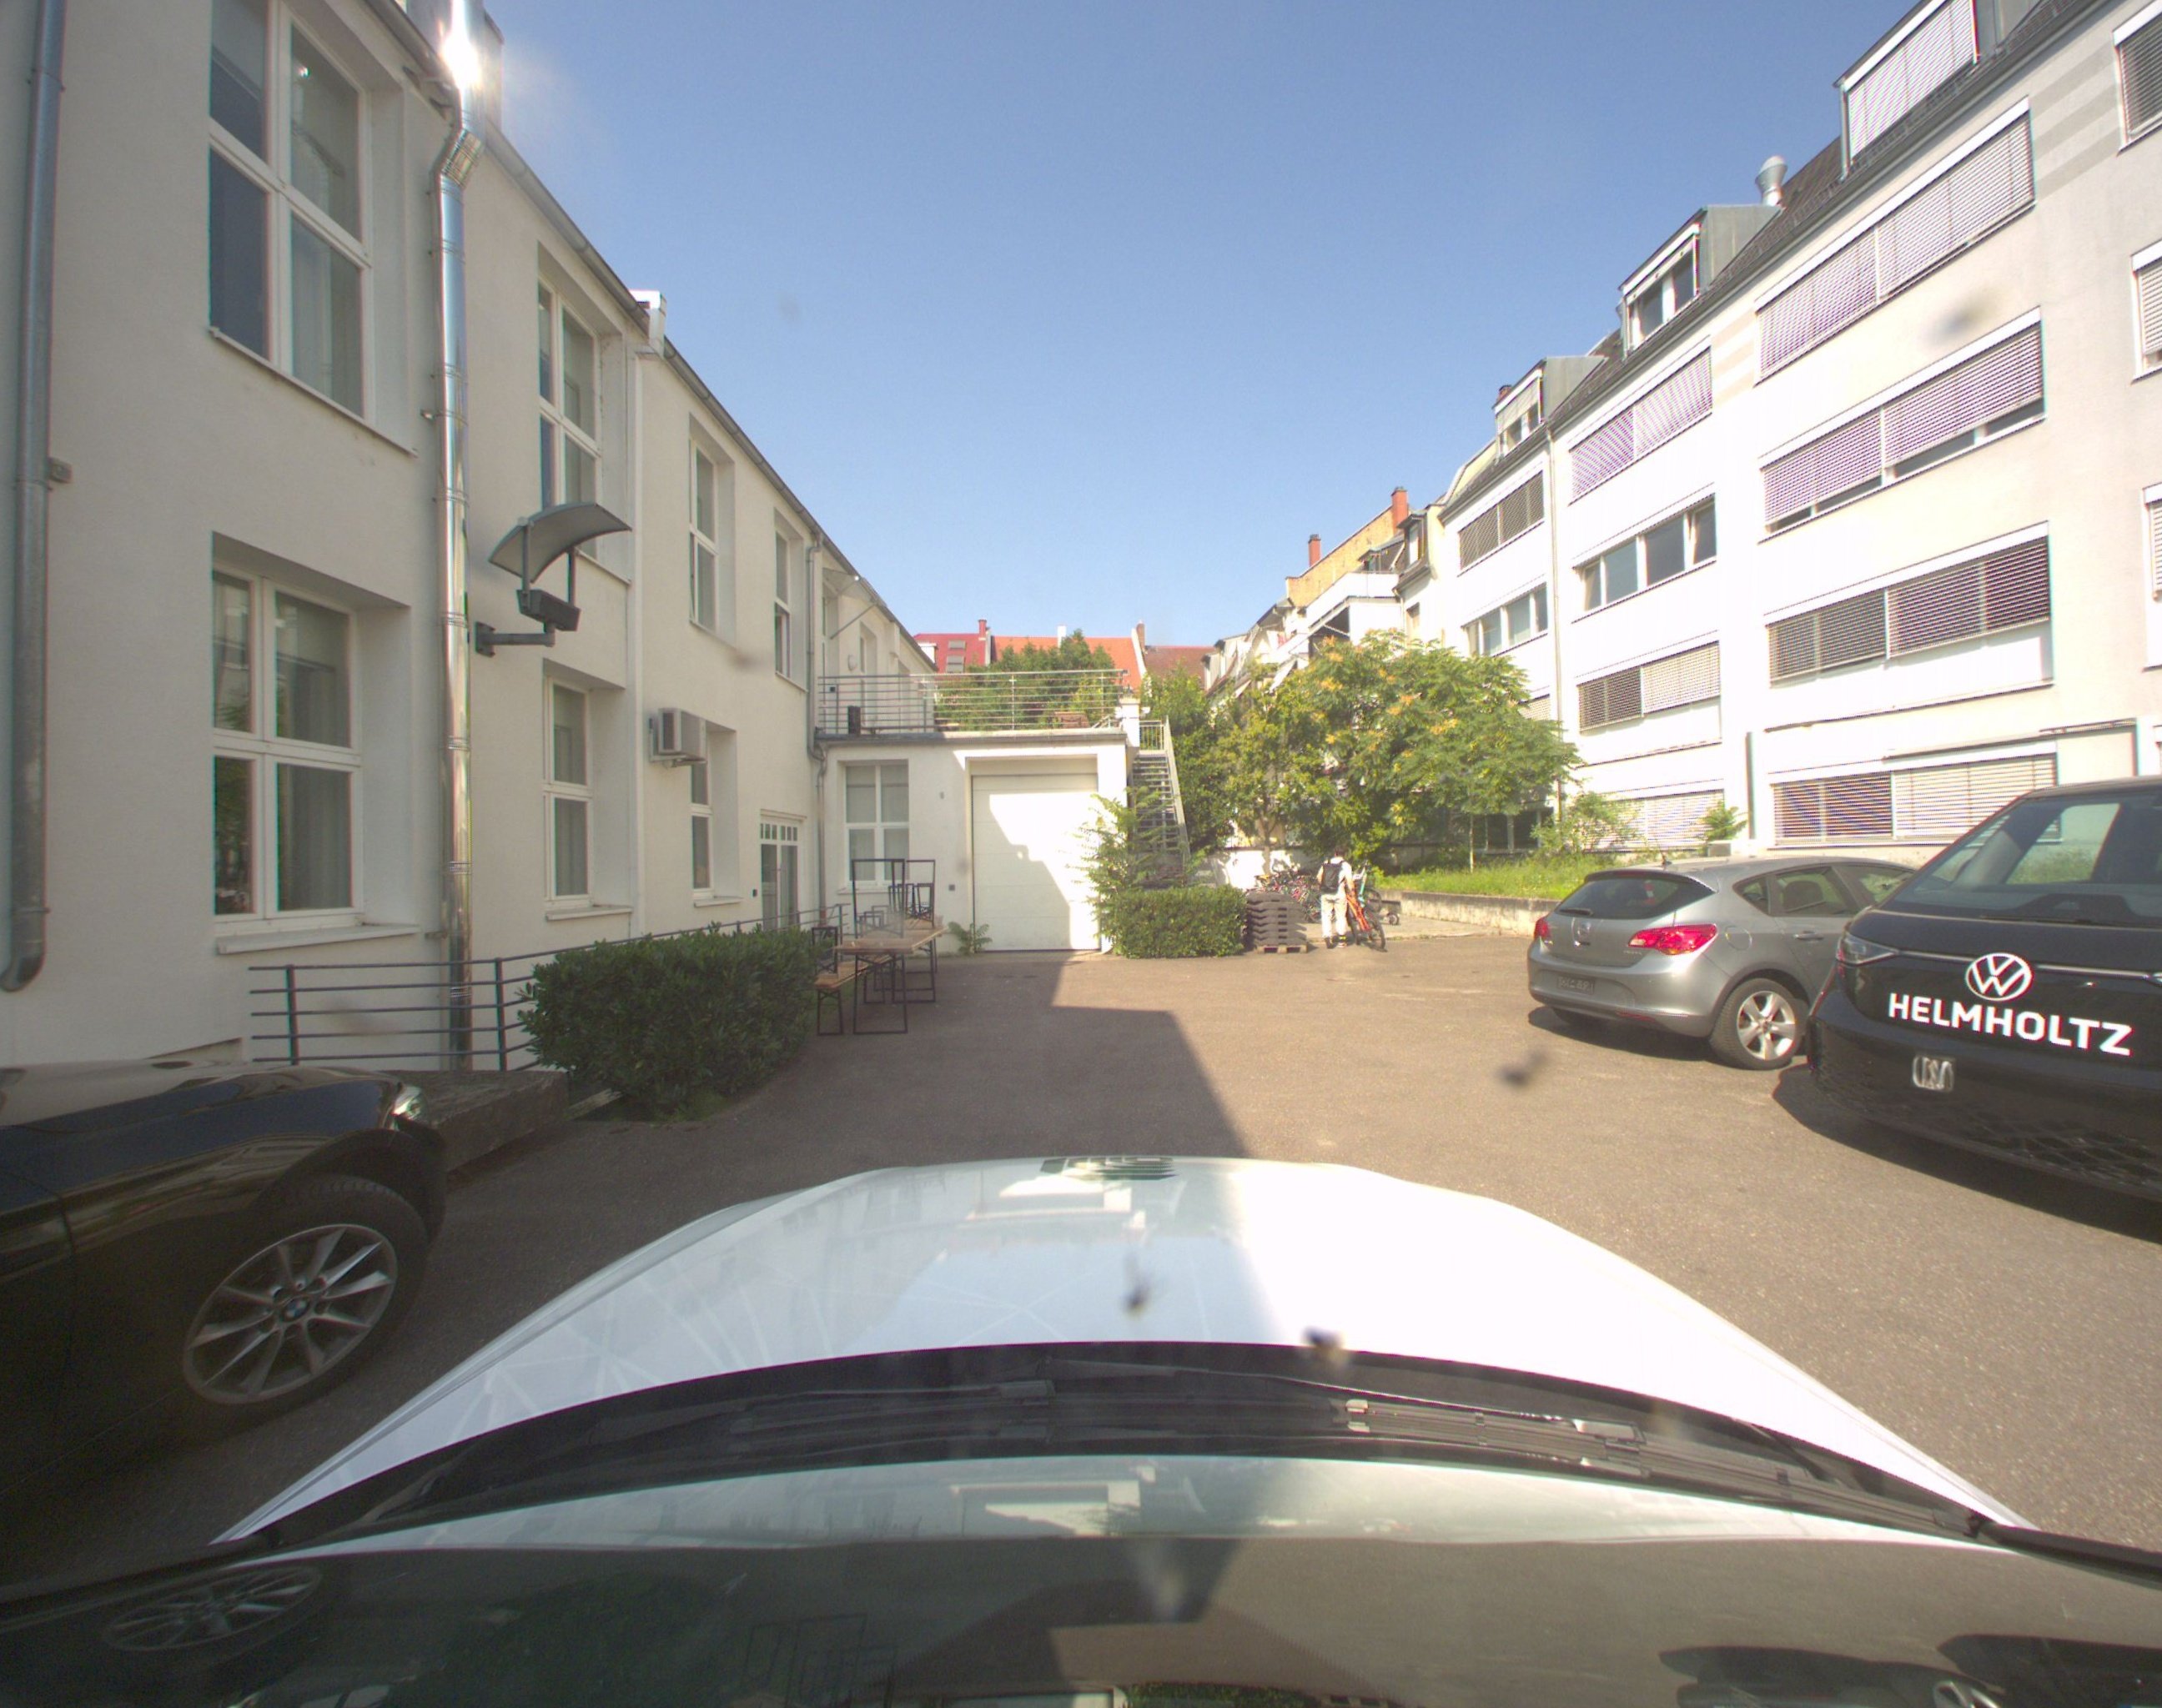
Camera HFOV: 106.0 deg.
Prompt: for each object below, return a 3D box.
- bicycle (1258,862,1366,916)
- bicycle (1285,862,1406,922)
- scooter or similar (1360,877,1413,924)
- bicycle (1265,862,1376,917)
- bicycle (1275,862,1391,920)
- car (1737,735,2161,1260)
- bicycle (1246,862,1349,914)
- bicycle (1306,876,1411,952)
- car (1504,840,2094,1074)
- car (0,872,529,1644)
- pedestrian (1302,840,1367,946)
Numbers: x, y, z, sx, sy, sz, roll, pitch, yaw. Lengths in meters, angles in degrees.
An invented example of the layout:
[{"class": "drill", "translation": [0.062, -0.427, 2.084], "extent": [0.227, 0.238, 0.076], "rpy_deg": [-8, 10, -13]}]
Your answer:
[{"class": "bicycle", "translation": [5.483, 0.826, 19.401], "extent": [2.403, 1.246, 0.526], "rpy_deg": [0, -1, 0]}, {"class": "bicycle", "translation": [5.600, 0.802, 17.330], "extent": [2.403, 1.246, 0.526], "rpy_deg": [0, -1, 0]}, {"class": "scooter or similar", "translation": [6.315, 0.939, 16.864], "extent": [0.362, 0.924, 0.988], "rpy_deg": [0, -1, -37]}, {"class": "bicycle", "translation": [5.505, 0.810, 18.784], "extent": [2.403, 1.246, 0.526], "rpy_deg": [0, -1, 0]}, {"class": "bicycle", "translation": [5.544, 0.808, 17.987], "extent": [2.403, 1.246, 0.526], "rpy_deg": [0, -1, 0]}, {"class": "car", "translation": [5.861, 0.458, 3.823], "extent": [4.334, 1.859, 1.909], "rpy_deg": [-1, 0, -9]}, {"class": "bicycle", "translation": [5.331, 0.826, 20.116], "extent": [2.403, 1.246, 0.526], "rpy_deg": [0, -1, 0]}, {"class": "bicycle", "translation": [4.689, 0.975, 13.894], "extent": [0.490, 1.143, 1.979], "rpy_deg": [-2, 0, -22]}, {"class": "car", "translation": [5.742, 0.685, 6.668], "extent": [3.900, 1.466, 1.655], "rpy_deg": [-1, 0, -13]}, {"class": "car", "translation": [-2.911, 0.771, 0.958], "extent": [1.788, 1.428, 4.133], "rpy_deg": [0, 0, -2]}, {"class": "pedestrian", "translation": [4.361, 0.656, 14.037], "extent": [0.861, 1.772, 0.607], "rpy_deg": [0, -1, -19]}]
